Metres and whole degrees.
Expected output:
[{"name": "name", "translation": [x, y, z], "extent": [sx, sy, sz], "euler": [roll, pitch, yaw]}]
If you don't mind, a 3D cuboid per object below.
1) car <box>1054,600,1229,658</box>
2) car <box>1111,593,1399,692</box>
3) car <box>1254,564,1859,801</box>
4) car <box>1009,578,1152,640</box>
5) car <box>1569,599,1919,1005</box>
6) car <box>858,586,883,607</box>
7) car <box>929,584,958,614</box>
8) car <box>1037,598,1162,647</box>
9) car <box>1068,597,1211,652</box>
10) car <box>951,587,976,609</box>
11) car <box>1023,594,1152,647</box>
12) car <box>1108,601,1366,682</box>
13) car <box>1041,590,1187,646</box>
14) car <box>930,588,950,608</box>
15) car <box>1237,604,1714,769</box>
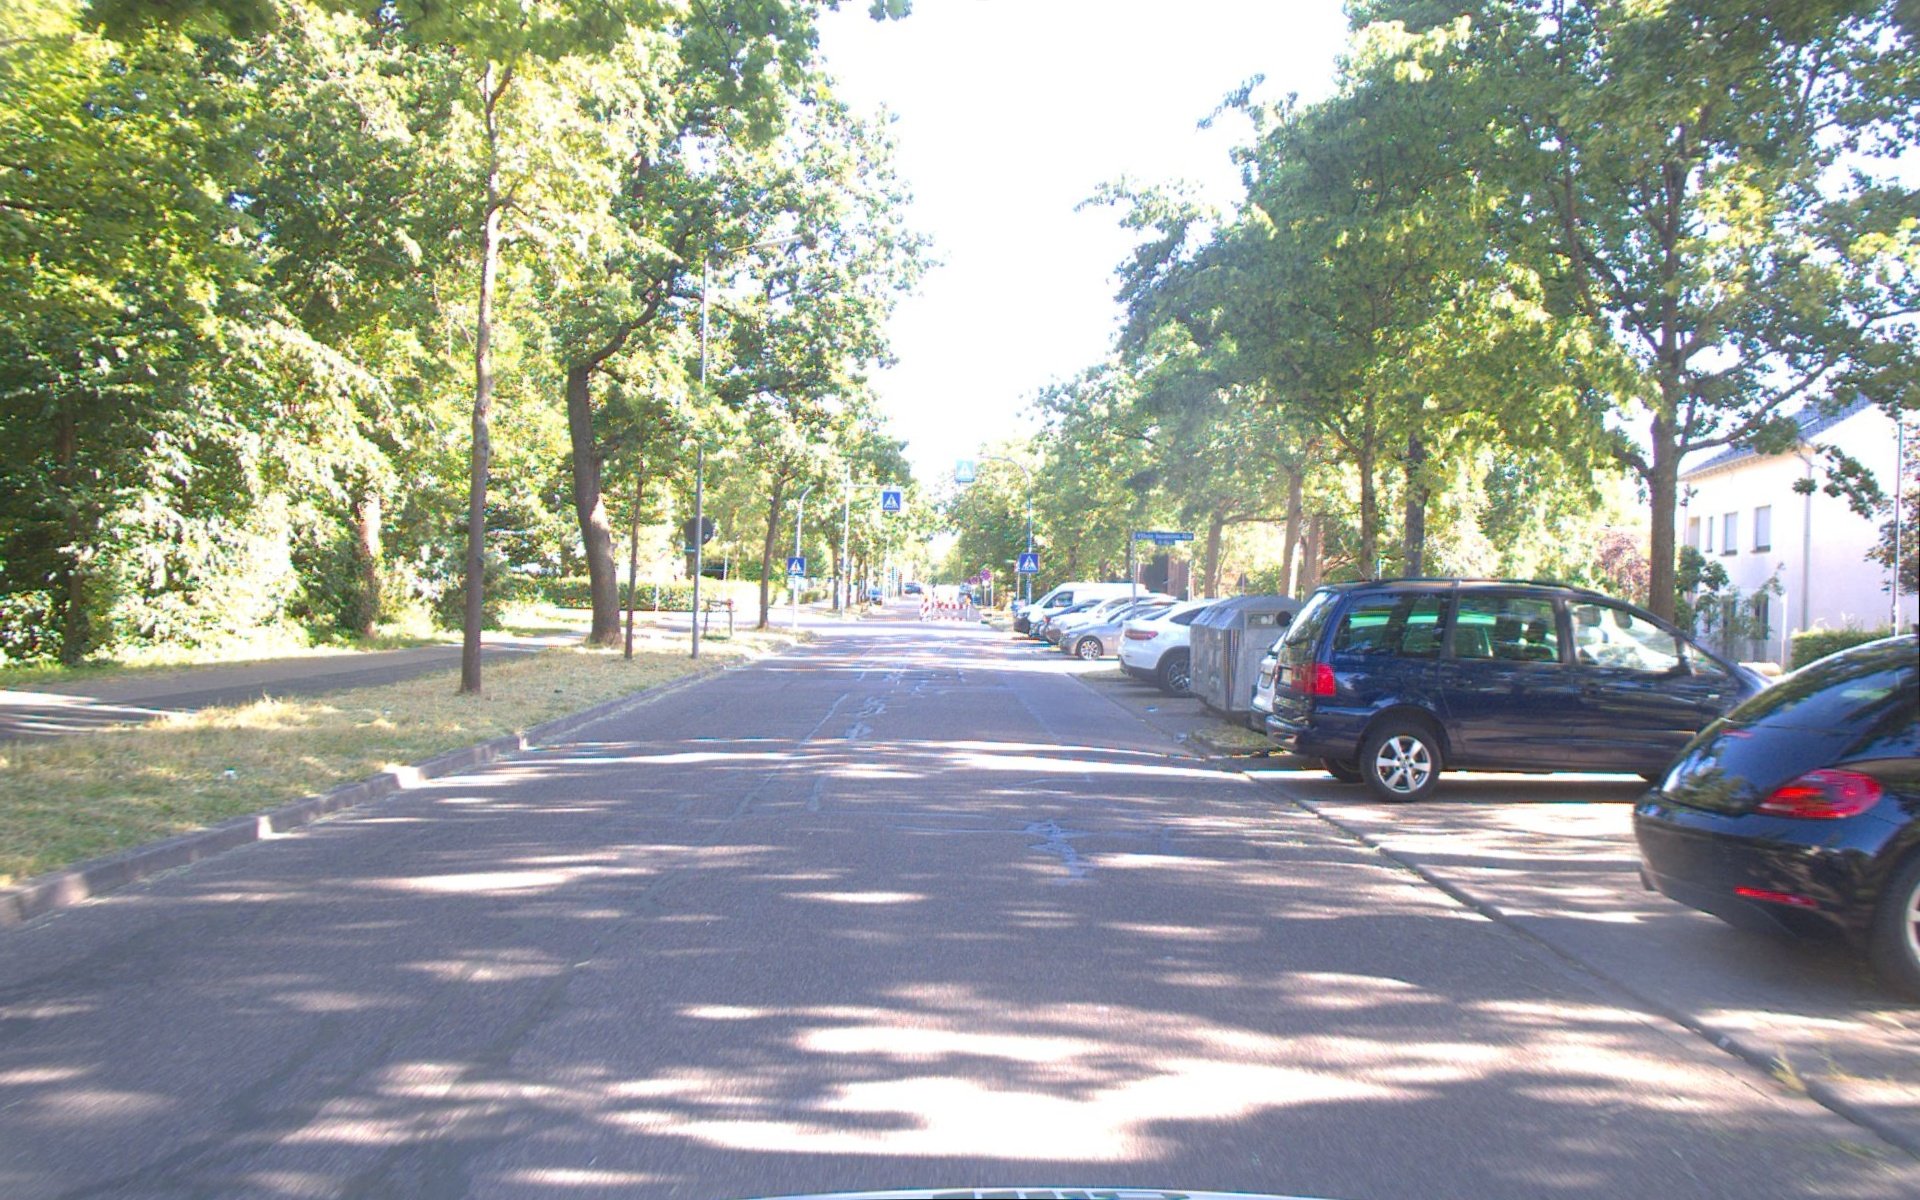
[{"name": "car", "translation": [4.722, 0.751, 43.473], "extent": [4.355, 1.414, 1.911], "euler": [1, 0, -1]}, {"name": "car", "translation": [4.940, 0.700, 28.183], "extent": [4.575, 1.608, 1.916], "euler": [0, 0, 0]}, {"name": "car", "translation": [4.885, 0.648, 14.024], "extent": [4.437, 1.832, 1.936], "euler": [0, 0, -1]}, {"name": "car", "translation": [4.432, 0.317, 61.385], "extent": [5.083, 2.142, 2.081], "euler": [1, 0, -2]}, {"name": "car", "translation": [5.168, 0.788, 7.367], "extent": [4.158, 1.545, 2.078], "euler": [0, 0, 0]}, {"name": "car", "translation": [-7.756, -0.326, 144.188], "extent": [1.953, 1.746, 3.999], "euler": [2, 0, -1]}, {"name": "car", "translation": [-1.184, -0.071, 116.807], "extent": [1.953, 1.966, 3.999], "euler": [2, 0, -1]}, {"name": "car", "translation": [4.477, 0.720, 53.610], "extent": [3.905, 1.458, 1.901], "euler": [2, 0, 1]}, {"name": "car", "translation": [5.008, 0.675, 46.502], "extent": [3.806, 1.523, 1.777], "euler": [0, 0, -2]}, {"name": "car", "translation": [0.277, -0.176, 138.089], "extent": [1.953, 1.746, 3.999], "euler": [2, 0, -1]}, {"name": "car", "translation": [4.296, 0.674, 56.307], "extent": [4.128, 1.596, 1.933], "euler": [2, 0, -3]}, {"name": "car", "translation": [5.204, 0.768, 31.451], "extent": [4.576, 1.481, 1.916], "euler": [0, 0, -2]}, {"name": "car", "translation": [4.710, 0.546, 51.079], "extent": [4.296, 1.680, 1.850], "euler": [0, 0, -3]}, {"name": "car", "translation": [-2.060, -0.203, 167.623], "extent": [1.953, 2.003, 3.999], "euler": [2, 0, -1]}, {"name": "car", "translation": [4.920, 0.801, 16.214], "extent": [4.134, 1.497, 1.800], "euler": [0, 0, 1]}]
